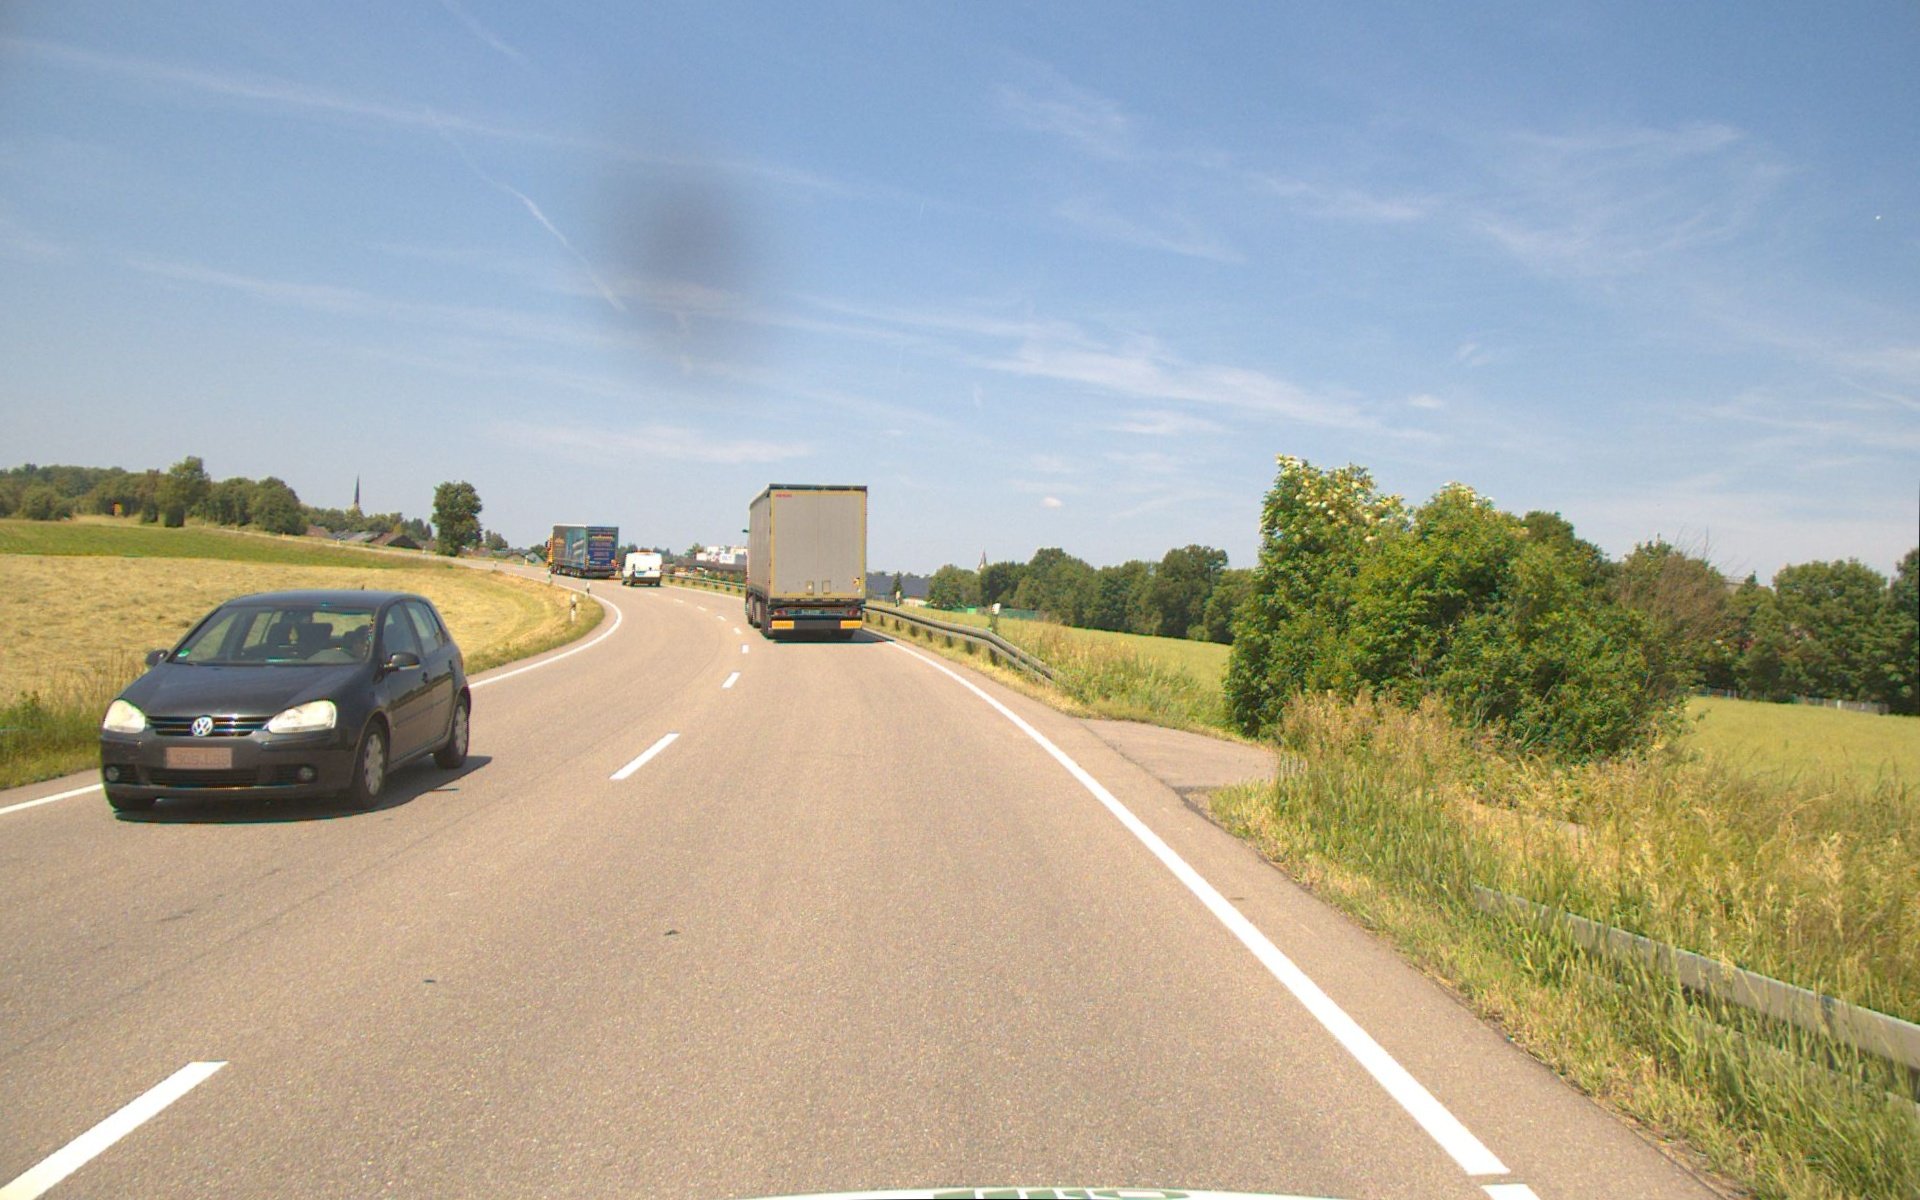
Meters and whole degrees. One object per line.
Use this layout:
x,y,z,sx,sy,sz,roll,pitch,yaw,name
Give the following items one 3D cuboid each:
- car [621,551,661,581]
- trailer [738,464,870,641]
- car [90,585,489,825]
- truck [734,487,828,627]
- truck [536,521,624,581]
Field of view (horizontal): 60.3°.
-21.733,-2.285,112.601,1.703,1.905,3.969,2,0,-25,car
-4.842,-1.298,48.738,2.815,4.477,13.461,0,1,-10,trailer
-4.855,0.646,12.621,1.667,1.495,4.195,-1,0,-5,car
-6.101,-1.395,55.799,2.807,4.477,5.059,1,0,-10,truck
-31.170,-3.999,134.790,3.503,4.468,17.988,3,1,-24,truck
